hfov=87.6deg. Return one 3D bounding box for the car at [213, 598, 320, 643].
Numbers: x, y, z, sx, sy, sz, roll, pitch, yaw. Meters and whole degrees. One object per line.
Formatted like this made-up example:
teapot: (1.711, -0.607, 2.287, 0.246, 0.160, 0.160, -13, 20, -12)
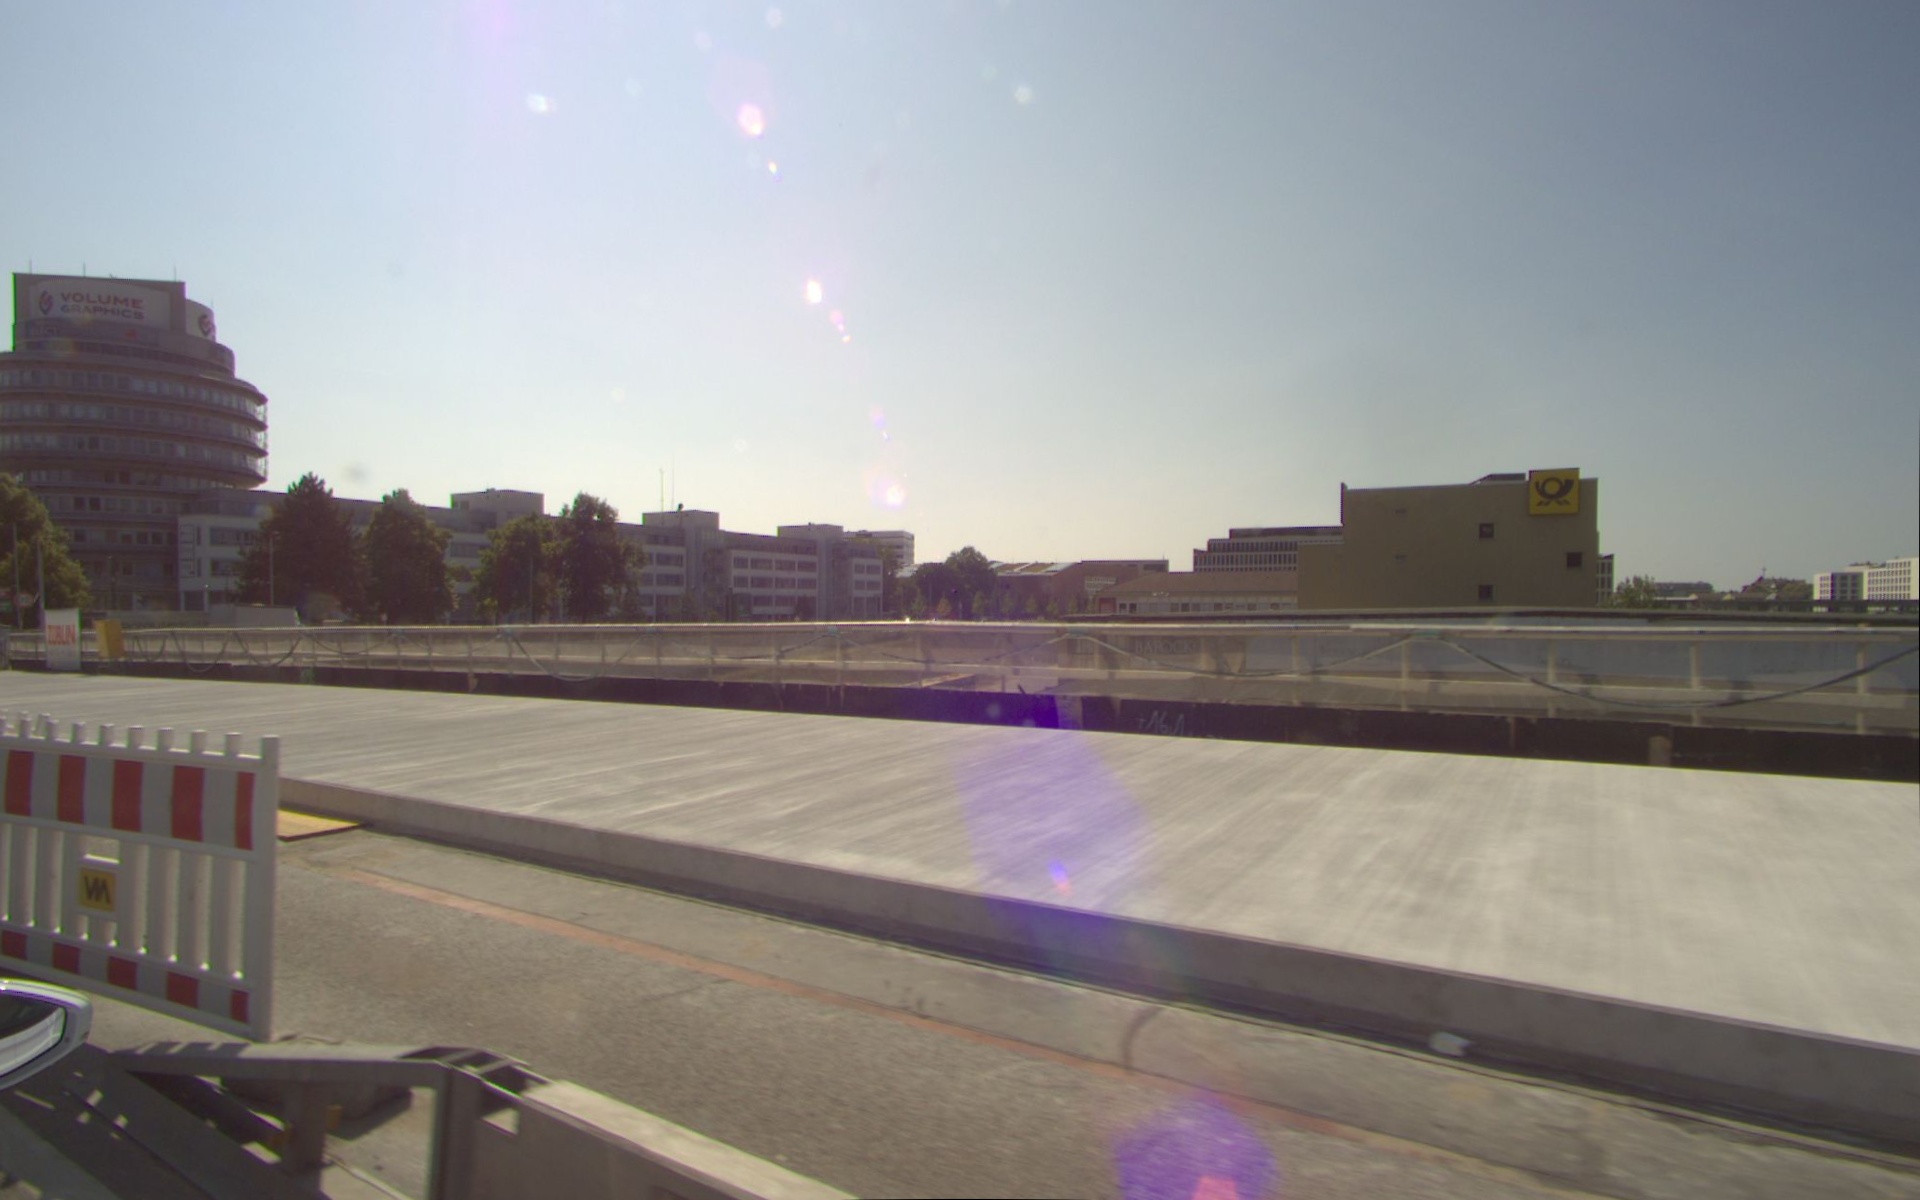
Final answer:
car: (-47.550, 1.424, 68.893, 2.303, 2.924, 5.966, 1, -1, 15)
